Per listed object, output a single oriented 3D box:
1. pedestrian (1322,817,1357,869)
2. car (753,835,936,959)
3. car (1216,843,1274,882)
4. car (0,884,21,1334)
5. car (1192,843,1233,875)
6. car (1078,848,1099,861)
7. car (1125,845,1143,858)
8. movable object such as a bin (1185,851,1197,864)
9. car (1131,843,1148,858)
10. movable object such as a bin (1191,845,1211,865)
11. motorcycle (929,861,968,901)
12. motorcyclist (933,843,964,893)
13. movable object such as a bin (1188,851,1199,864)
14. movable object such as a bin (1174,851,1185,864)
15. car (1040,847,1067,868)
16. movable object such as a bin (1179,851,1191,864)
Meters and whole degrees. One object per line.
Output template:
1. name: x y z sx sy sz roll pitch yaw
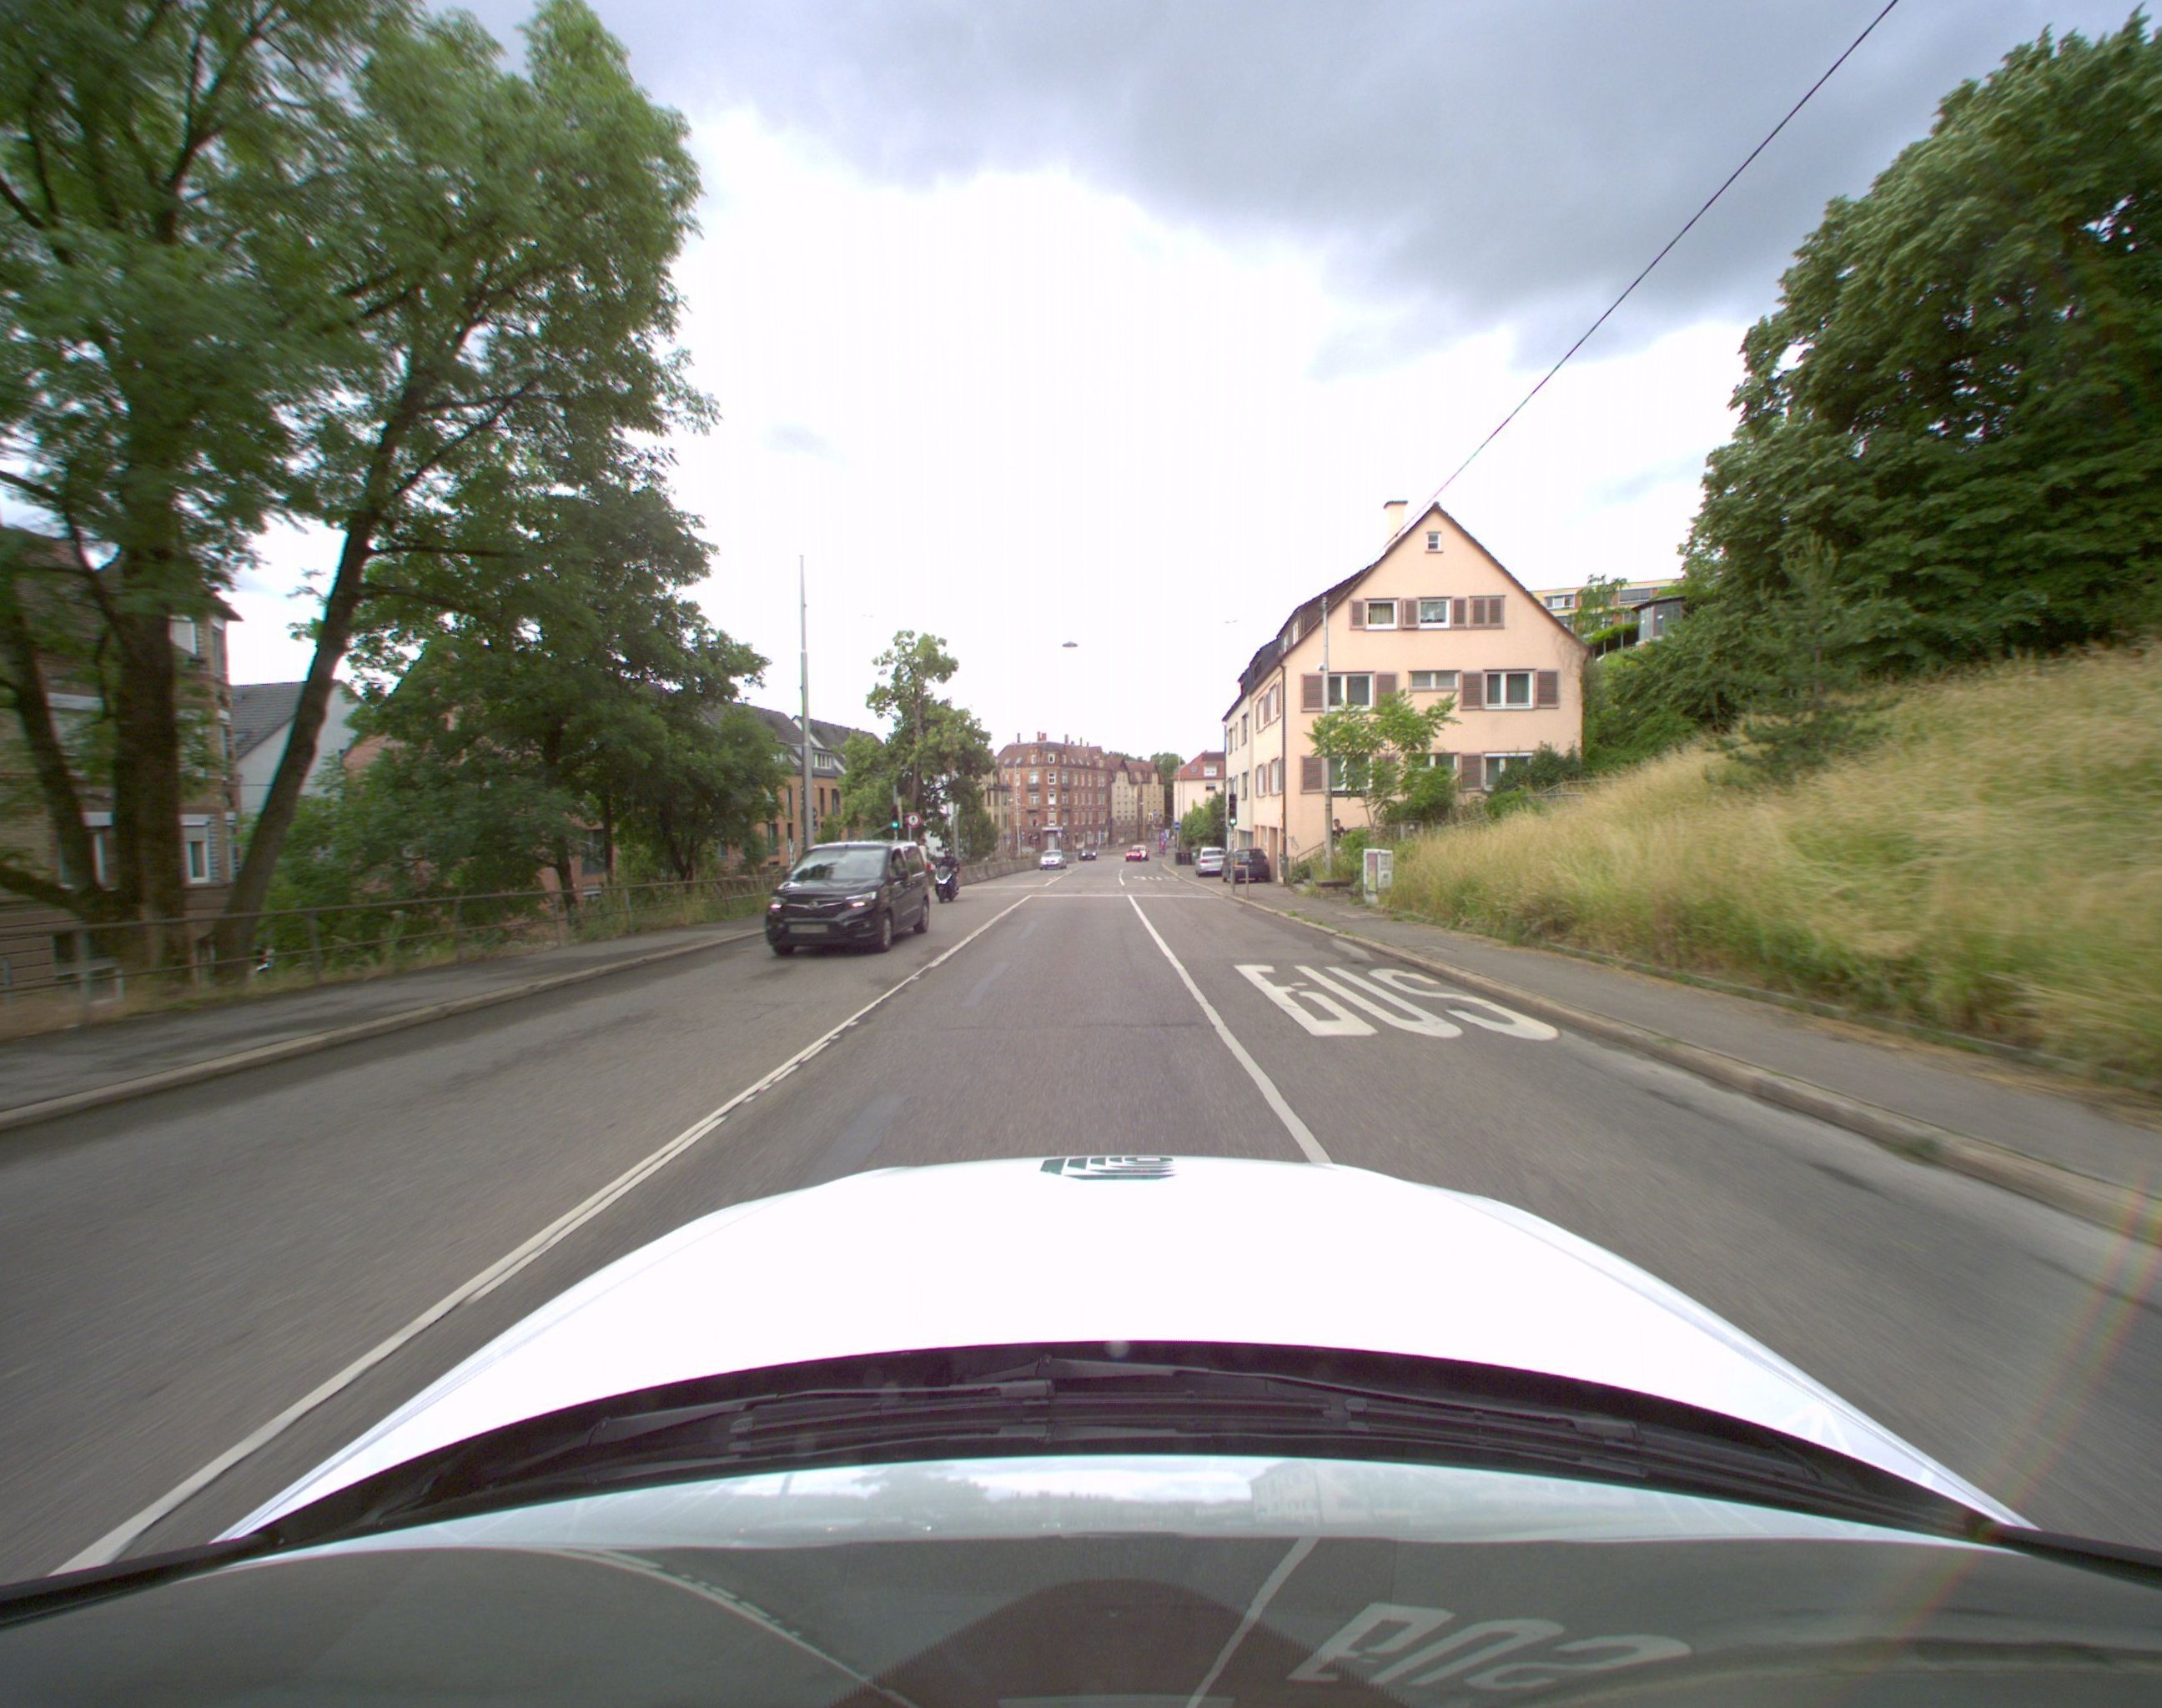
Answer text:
1. pedestrian: 8.704 -0.363 27.431 0.884 1.696 0.872 1 0 -2
2. car: -3.833 0.602 14.050 1.778 1.746 4.429 -2 1 0
3. car: 6.913 0.335 34.681 1.675 1.451 4.002 -4 0 2
4. car: -4.476 0.880 0.483 1.777 1.459 4.430 -2 1 1
5. car: 6.956 0.215 43.462 1.785 1.451 4.726 -4 1 5
6. car: 1.109 0.039 112.417 1.969 1.574 4.390 -3 1 12
7. car: 6.203 -0.324 94.902 1.807 1.430 4.008 1 1 6
8. movable object such as a bin: 8.645 0.266 63.893 0.743 1.058 0.676 -1 0 -13
9. car: 7.306 -0.438 101.525 1.899 1.884 4.007 1 1 6
10. movable object such as a bin: 9.117 0.064 62.029 1.048 1.444 1.412 -1 0 -13
11. motorcycle: -4.109 0.814 25.340 0.782 1.145 2.058 -2 1 1
12. motorcyclist: -4.118 0.433 25.402 0.782 1.516 0.669 -2 0 1
13. movable object such as a bin: 8.734 0.269 63.159 0.710 1.058 0.544 -1 0 -13
14. movable object such as a bin: 7.915 0.271 65.440 0.743 1.058 0.676 -1 0 -13
15. car: -2.053 0.246 61.855 1.714 1.444 4.161 -2 1 2
16. movable object such as a bin: 8.286 0.272 64.778 0.743 1.058 0.676 -1 0 -13
